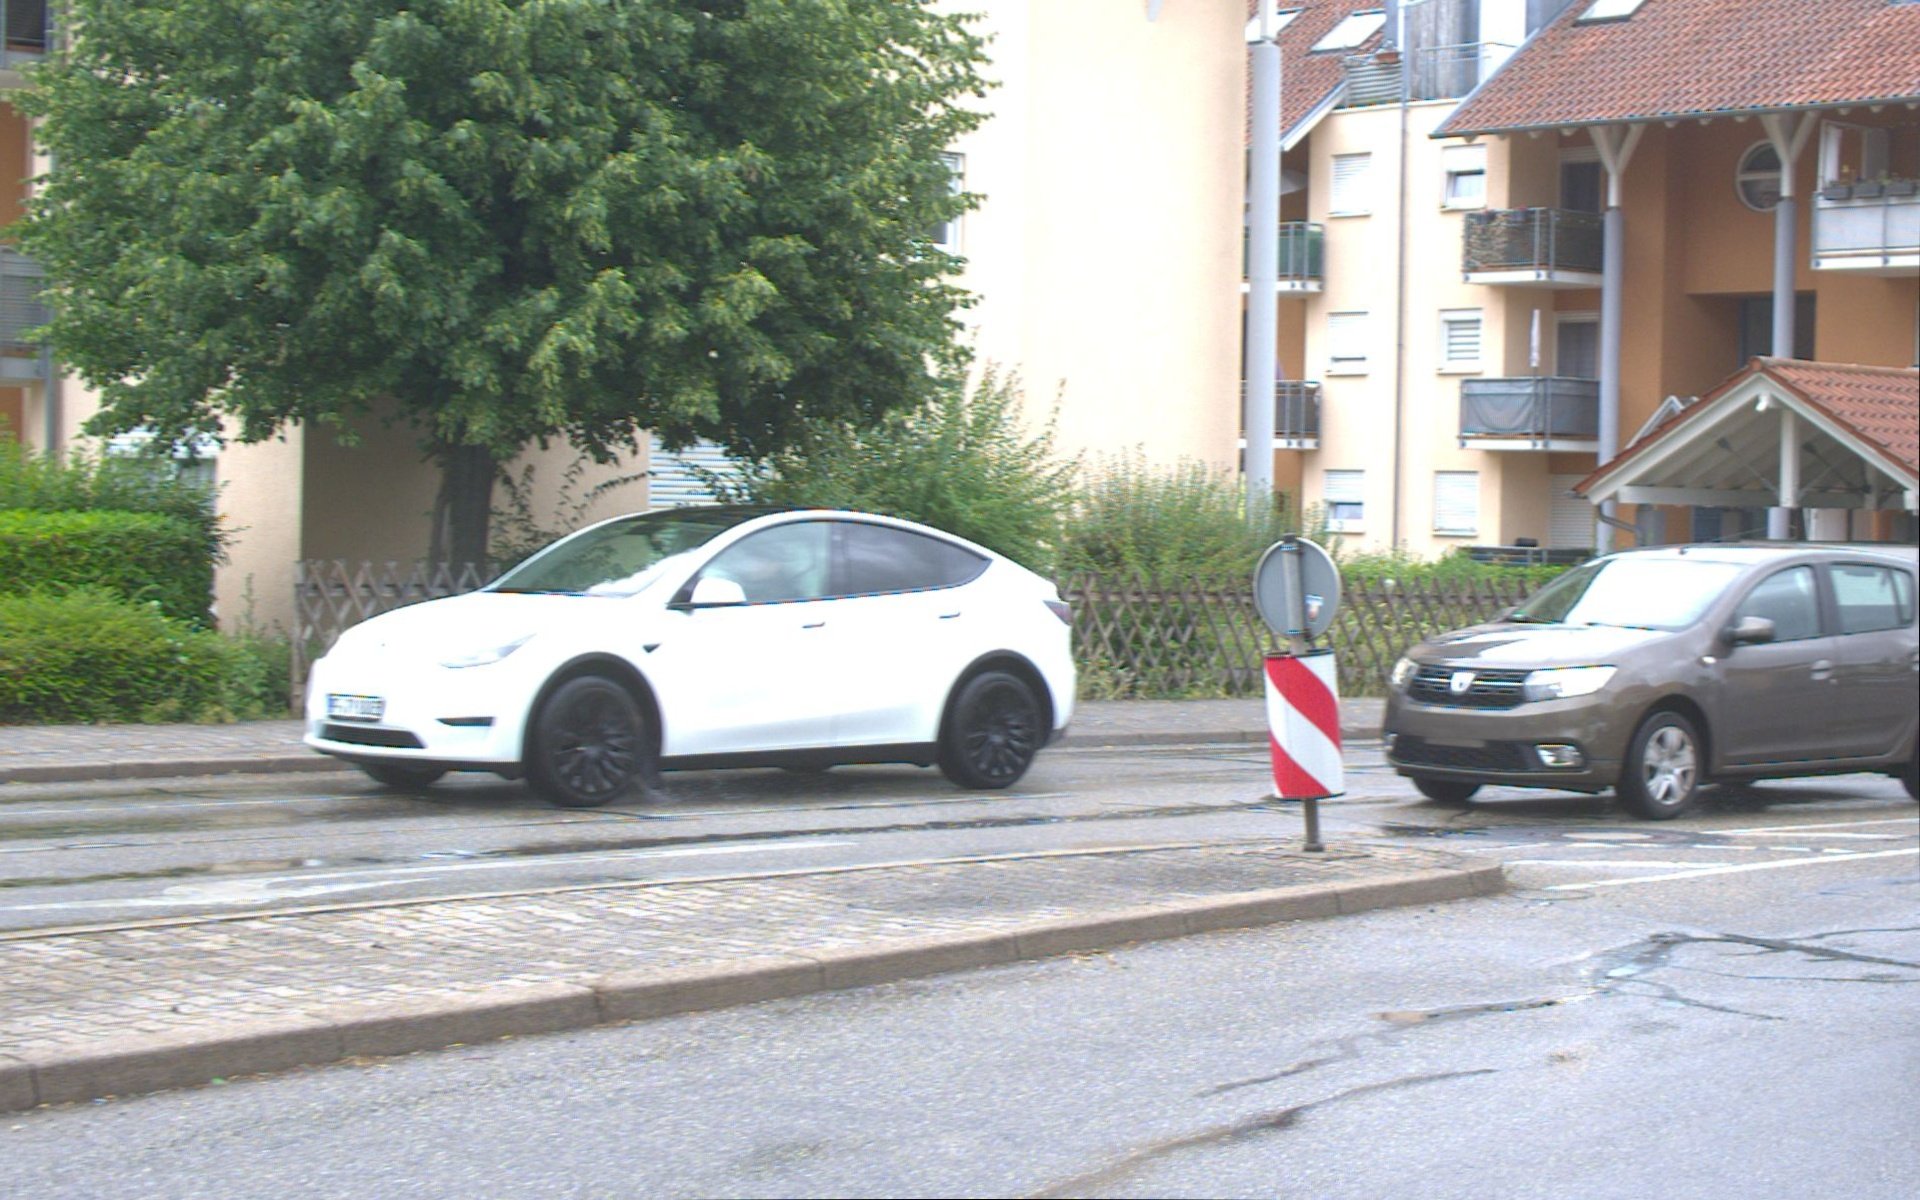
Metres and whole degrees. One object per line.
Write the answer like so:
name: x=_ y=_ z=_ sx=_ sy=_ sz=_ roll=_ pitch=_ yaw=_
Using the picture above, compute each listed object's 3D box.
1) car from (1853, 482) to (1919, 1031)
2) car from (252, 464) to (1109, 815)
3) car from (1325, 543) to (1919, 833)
car: x=4.954 y=0.540 z=11.988 sx=1.925 sy=1.716 sz=4.255 roll=4 pitch=2 yaw=38
car: x=-1.475 y=0.151 z=19.438 sx=4.588 sy=1.719 sz=1.953 roll=-1 pitch=3 yaw=-43
car: x=4.171 y=0.470 z=19.738 sx=3.925 sy=1.482 sz=1.828 roll=1 pitch=1 yaw=-38
